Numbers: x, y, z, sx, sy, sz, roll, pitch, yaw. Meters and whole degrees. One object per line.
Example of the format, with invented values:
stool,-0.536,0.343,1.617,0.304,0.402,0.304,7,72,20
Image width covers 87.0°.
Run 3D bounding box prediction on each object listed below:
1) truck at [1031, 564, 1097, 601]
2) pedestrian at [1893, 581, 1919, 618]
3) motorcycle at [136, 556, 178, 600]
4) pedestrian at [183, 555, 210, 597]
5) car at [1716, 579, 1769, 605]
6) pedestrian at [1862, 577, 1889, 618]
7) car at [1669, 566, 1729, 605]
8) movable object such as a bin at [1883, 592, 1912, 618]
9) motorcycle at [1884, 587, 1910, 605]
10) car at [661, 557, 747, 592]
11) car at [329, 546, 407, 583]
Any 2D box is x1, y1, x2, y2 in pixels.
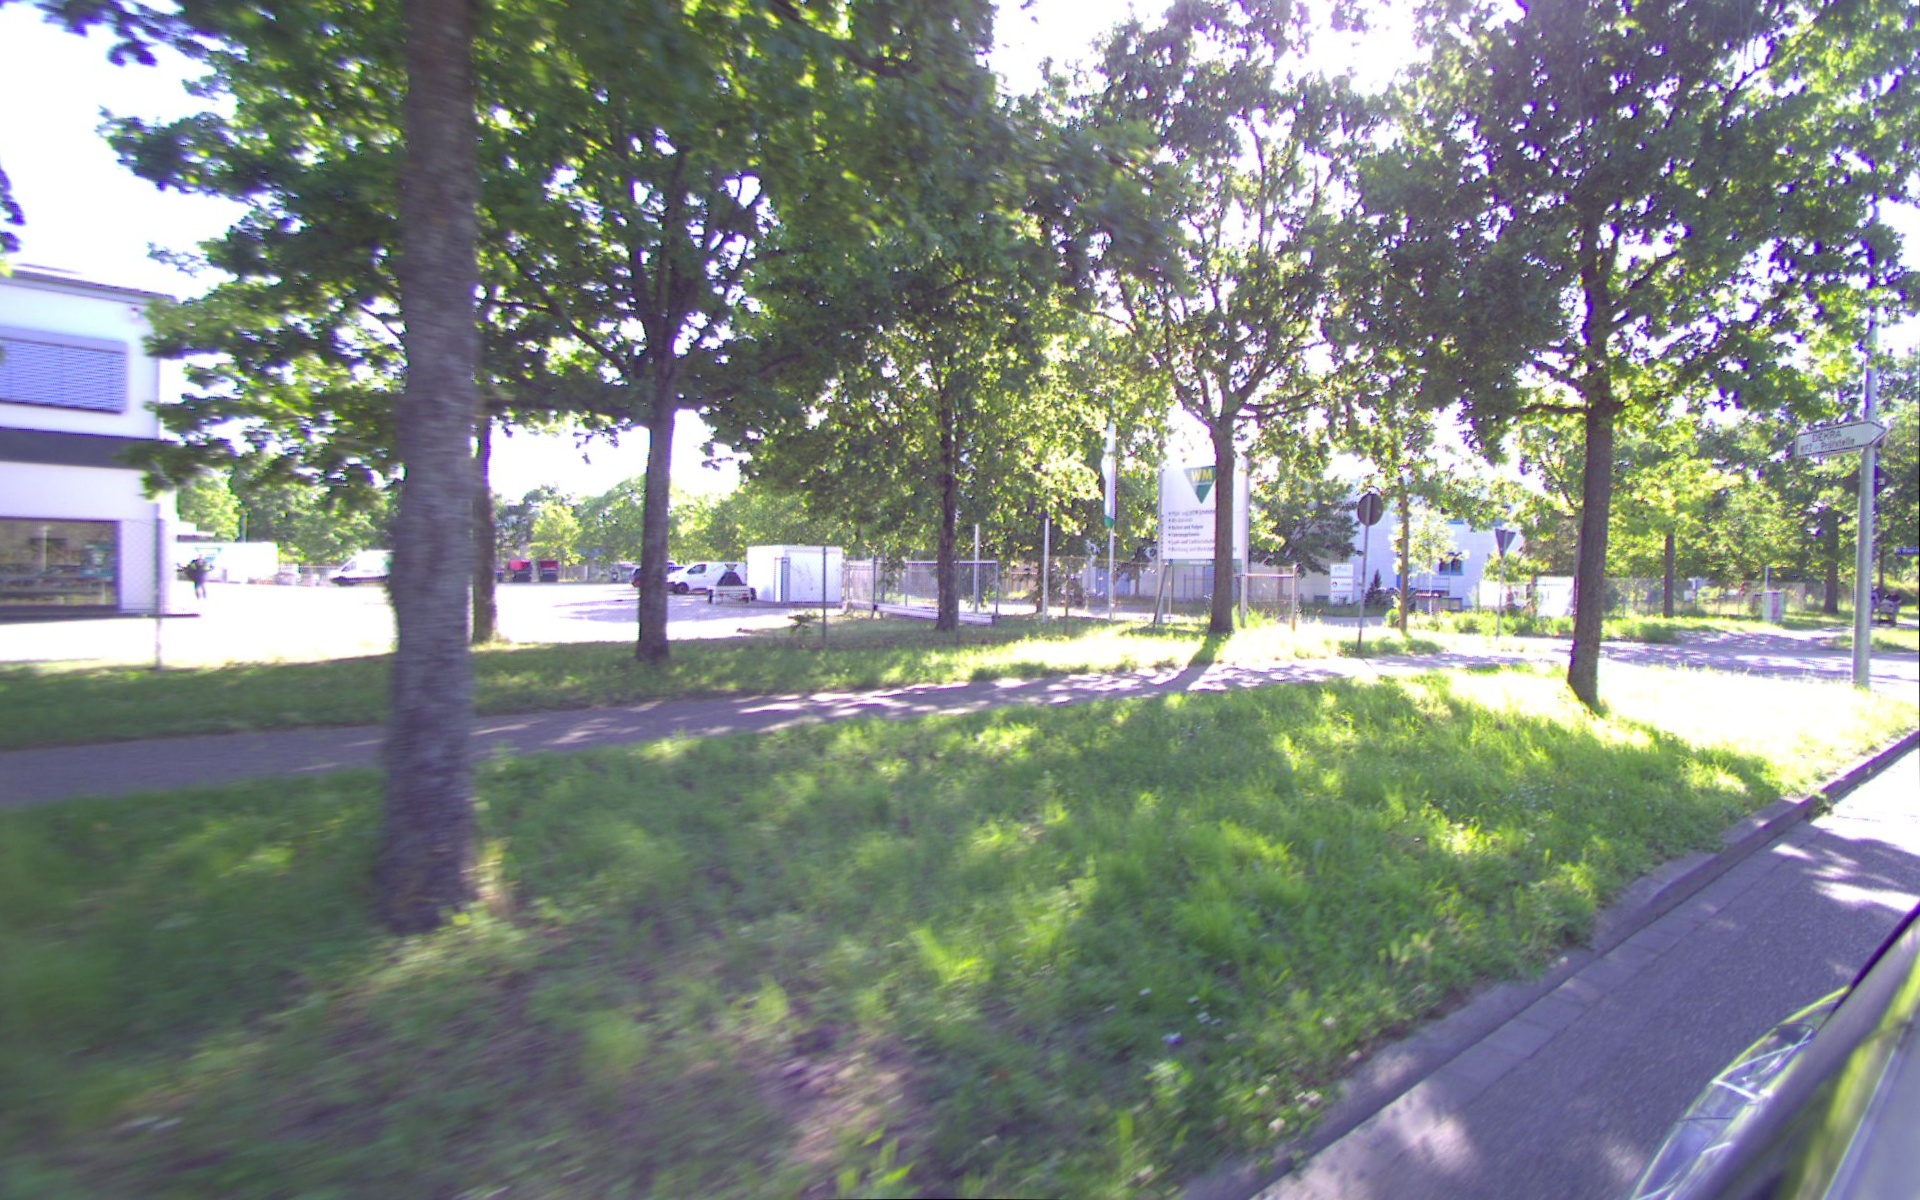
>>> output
truck,6.410,-1.146,62.825,1.958,2.138,5.166,-2,3,-20
pedestrian,41.787,-0.039,44.675,0.851,1.623,0.728,0,2,-38
motorcycle,-27.141,-0.746,34.217,0.644,1.450,1.995,0,1,-25
pedestrian,-26.866,-0.854,35.623,0.707,1.451,0.748,0,1,-41
car,54.578,-0.573,70.570,3.530,1.685,2.011,0,2,-37
pedestrian,40.644,-0.122,44.939,0.851,1.777,0.728,0,2,-38
car,53.189,-1.069,72.832,4.761,2.676,2.167,0,2,-37
movable object such as a bin,41.007,0.223,44.261,0.851,1.094,0.728,0,3,-38
motorcycle,73.903,-0.315,79.797,2.358,1.246,0.666,-5,4,-26
car,-15.193,-1.503,60.112,4.638,2.011,2.004,0,2,-26
car,-45.784,-2.749,78.328,4.750,2.732,2.172,1,1,-10
